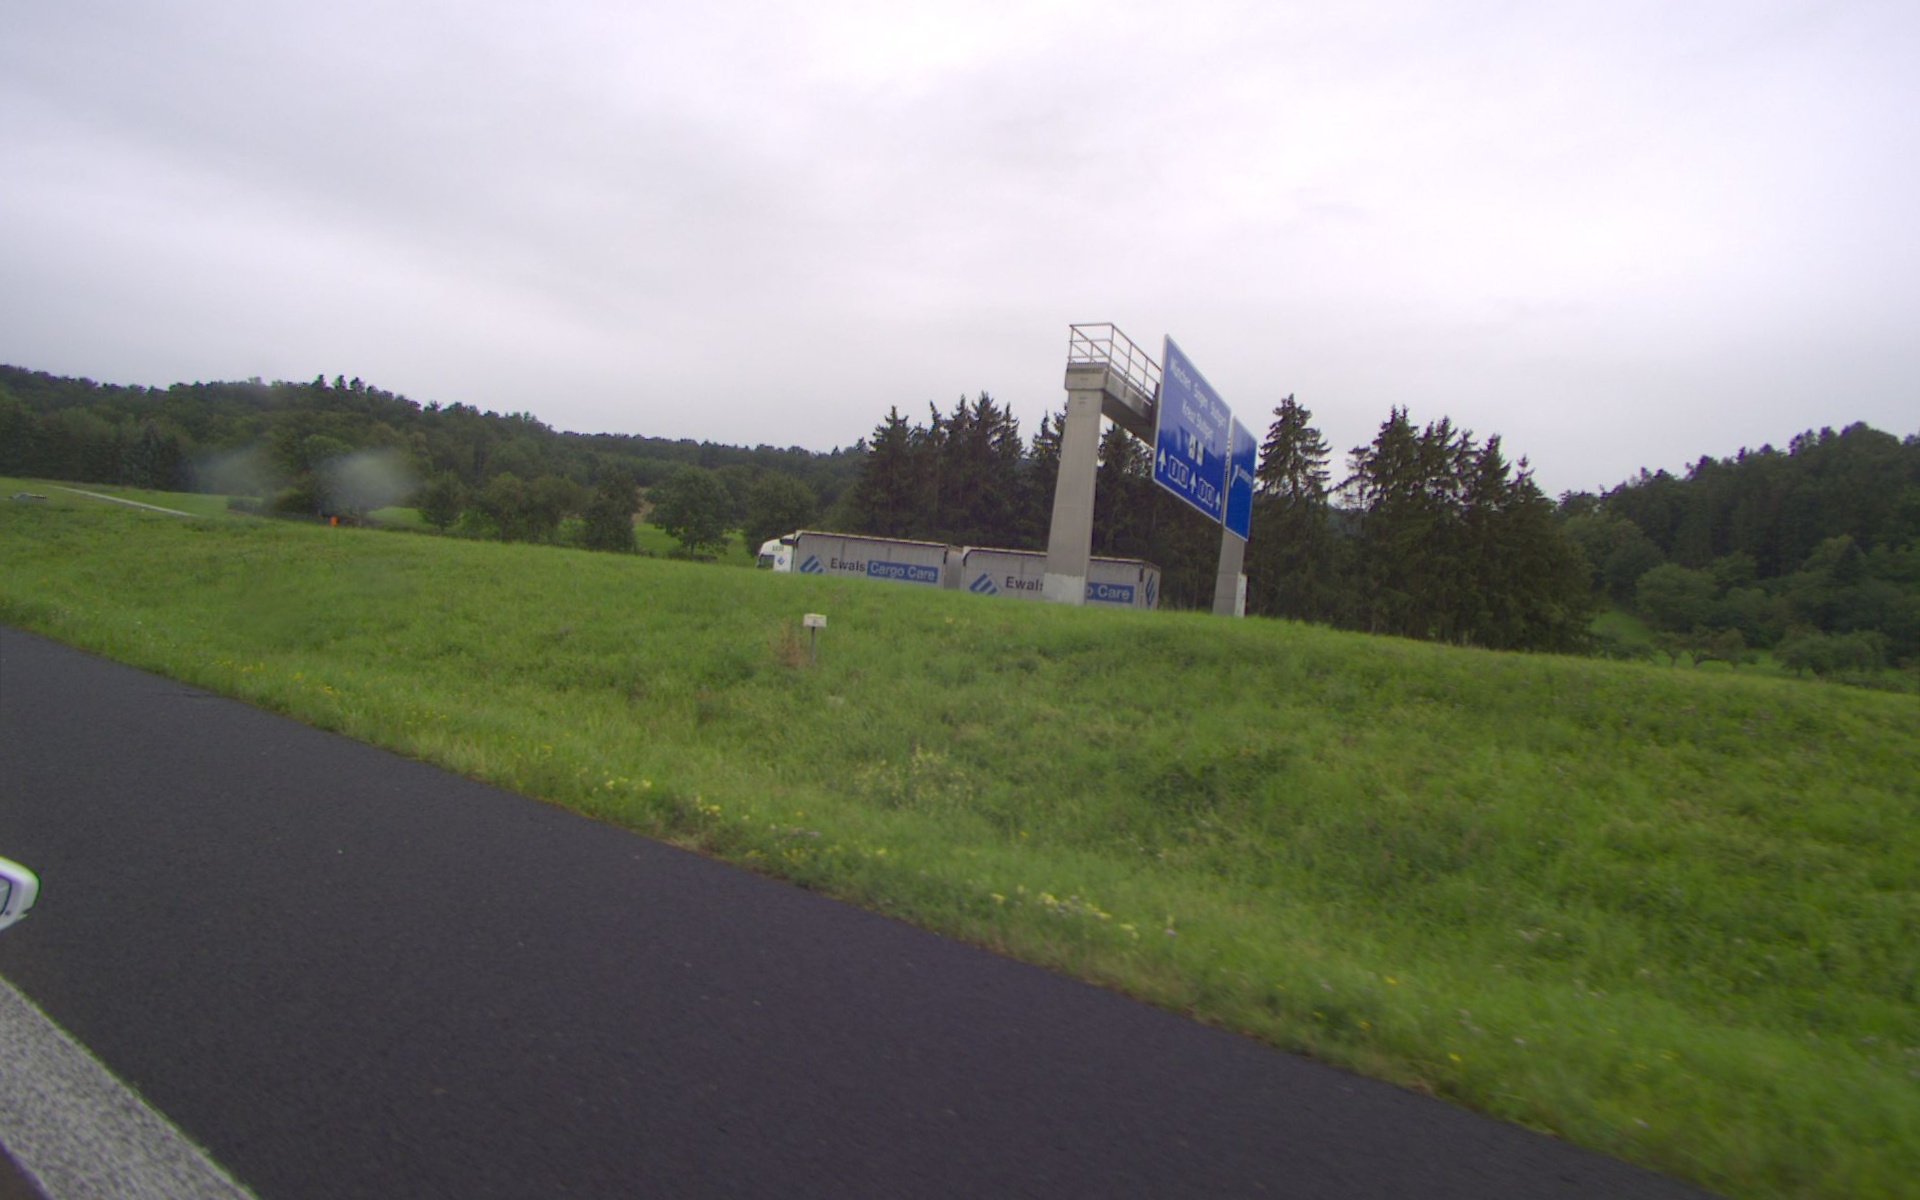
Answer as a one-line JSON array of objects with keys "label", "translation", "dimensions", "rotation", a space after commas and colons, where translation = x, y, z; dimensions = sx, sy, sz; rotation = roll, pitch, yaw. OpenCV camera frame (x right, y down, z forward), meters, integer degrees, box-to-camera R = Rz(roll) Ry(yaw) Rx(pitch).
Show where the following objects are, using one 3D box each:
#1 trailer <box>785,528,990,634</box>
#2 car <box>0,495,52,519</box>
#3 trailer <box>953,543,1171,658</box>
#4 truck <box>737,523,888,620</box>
[{"label": "trailer", "translation": [-3.244, -0.860, 44.514], "dimensions": [8.268, 3.567, 2.948], "rotation": [7, -2, 25]}, {"label": "car", "translation": [-68.922, -6.863, 74.146], "dimensions": [3.473, 1.303, 1.702], "rotation": [7, -2, 27]}, {"label": "trailer", "translation": [4.145, -0.009, 41.069], "dimensions": [7.940, 3.567, 3.089], "rotation": [7, -2, 25]}, {"label": "truck", "translation": [-6.776, -1.325, 46.176], "dimensions": [5.821, 3.567, 2.948], "rotation": [7, -2, 25]}]
